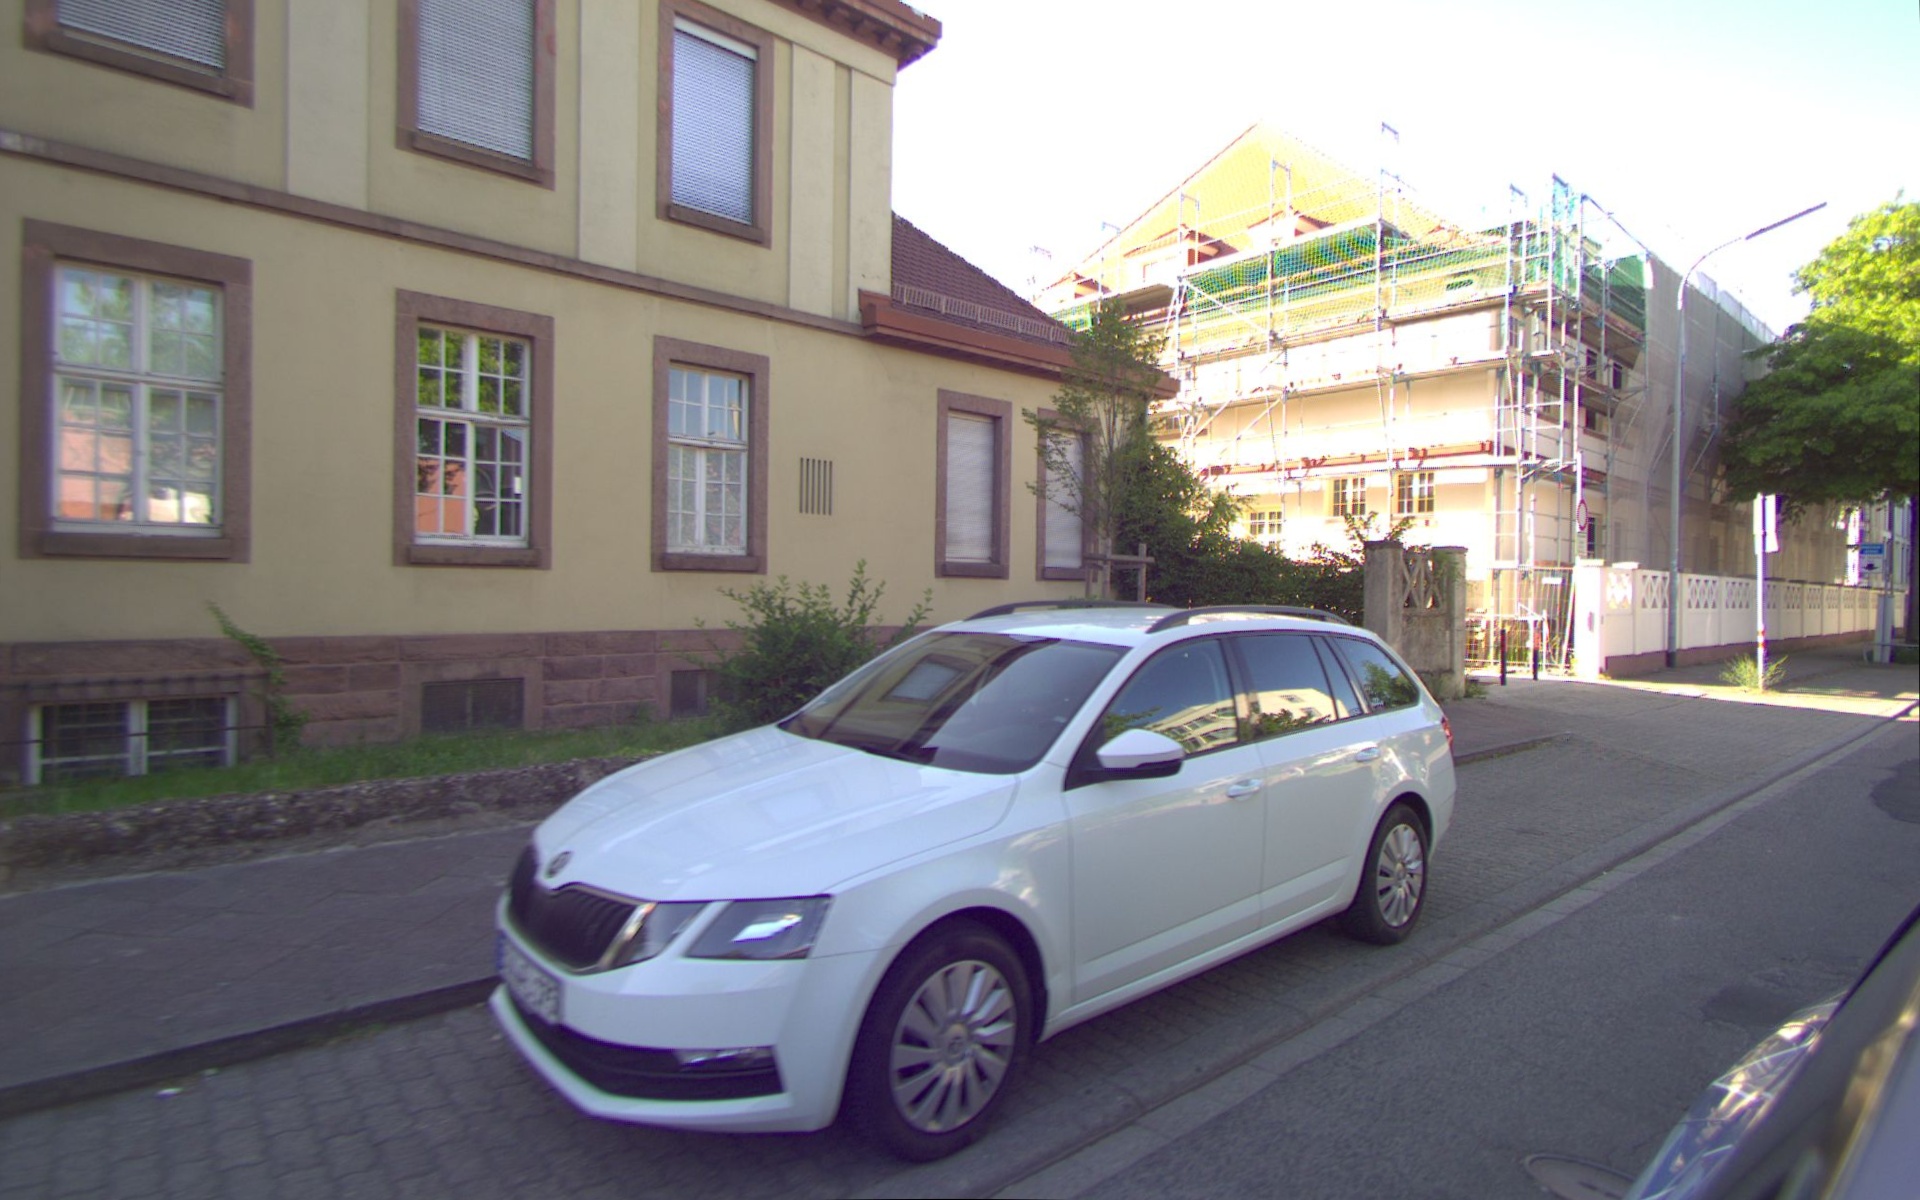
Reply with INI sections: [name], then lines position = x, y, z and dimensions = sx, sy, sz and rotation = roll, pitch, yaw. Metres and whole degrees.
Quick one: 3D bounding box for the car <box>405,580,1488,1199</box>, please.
[car]
position = 0.360, 0.619, 4.233
dimensions = 4.419, 1.339, 1.835
rotation = 0, 2, -42
